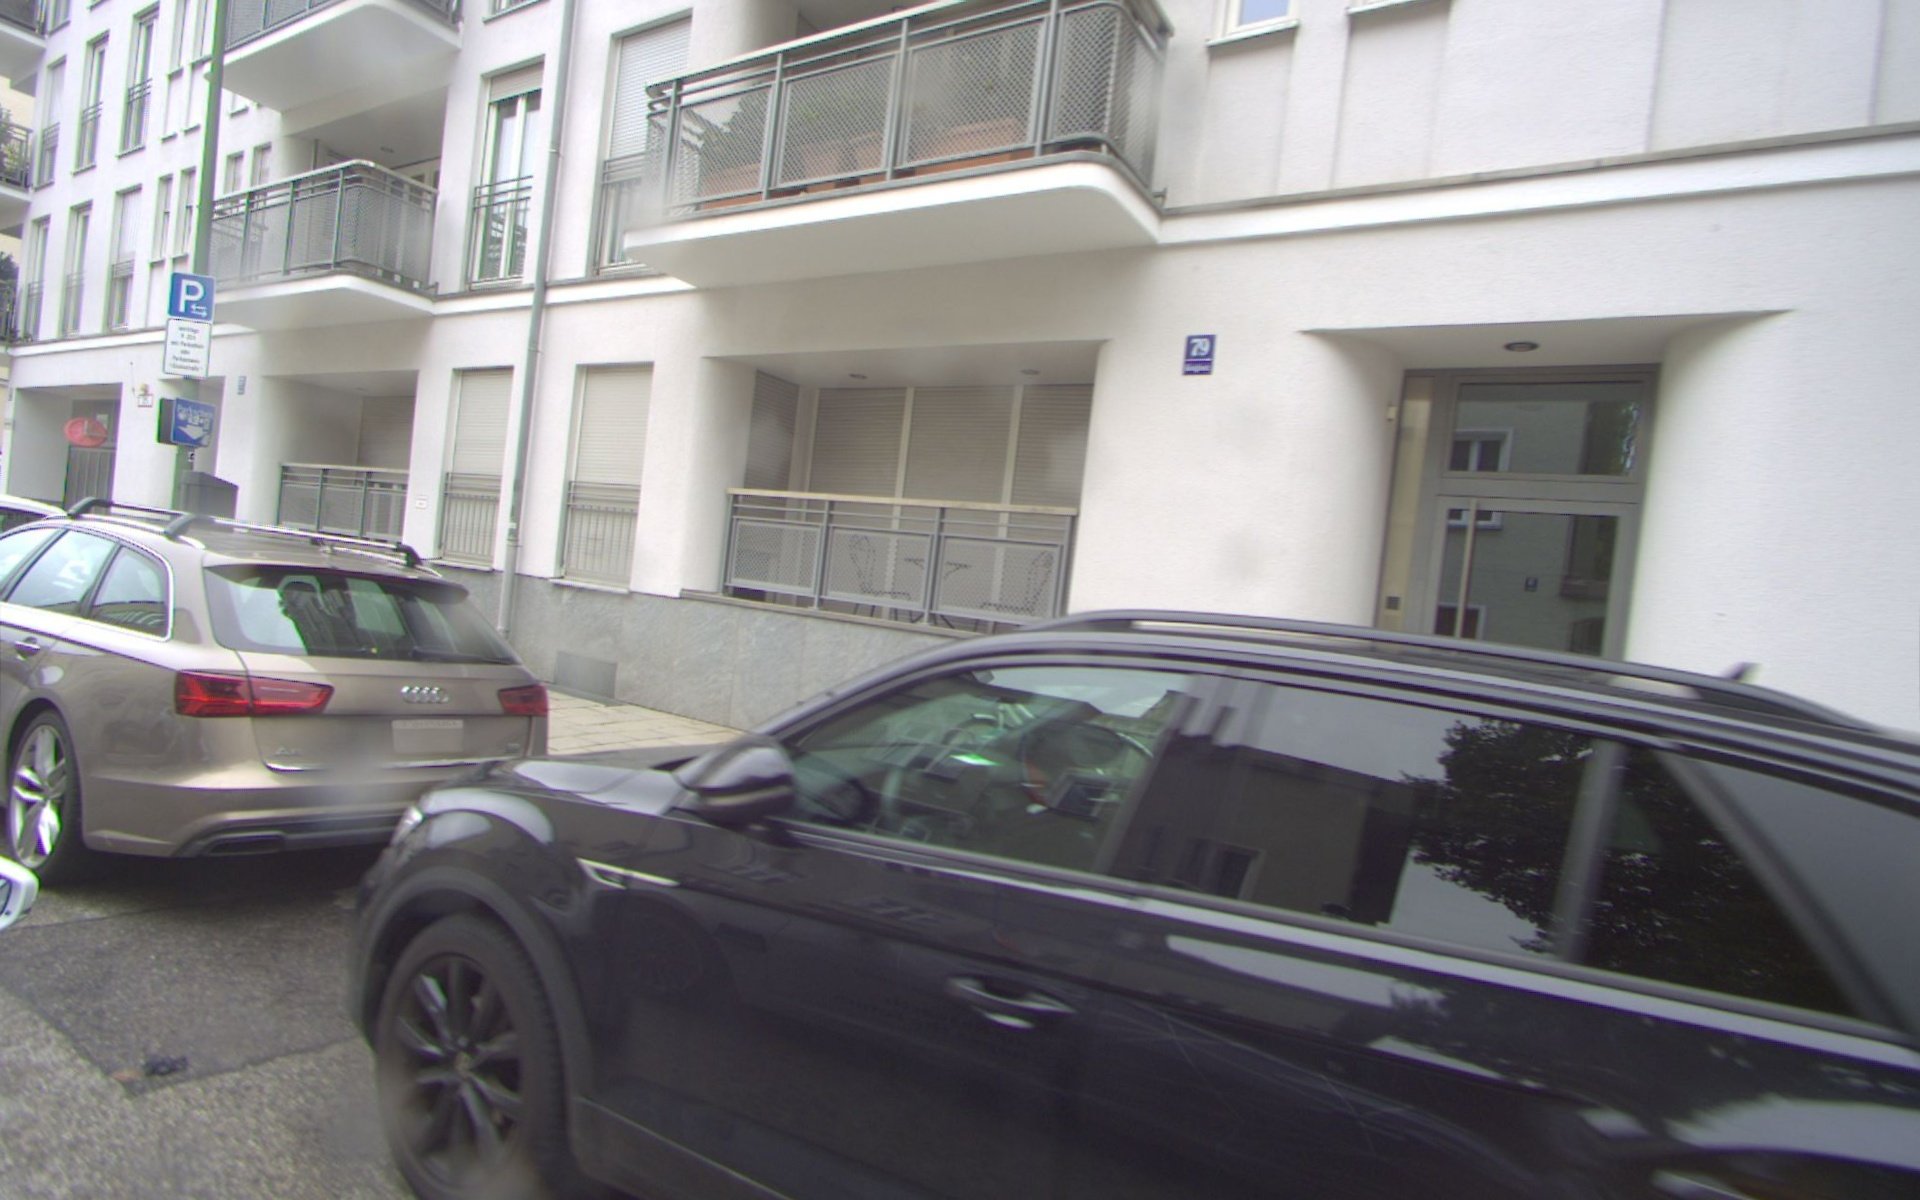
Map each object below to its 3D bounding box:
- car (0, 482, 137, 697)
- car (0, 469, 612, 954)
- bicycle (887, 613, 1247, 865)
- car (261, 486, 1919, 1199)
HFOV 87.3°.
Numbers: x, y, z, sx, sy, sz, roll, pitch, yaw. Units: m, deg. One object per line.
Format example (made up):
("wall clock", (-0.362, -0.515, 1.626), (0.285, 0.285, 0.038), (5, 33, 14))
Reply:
("car", (-8.421, -0.251, 8.174), (3.468, 1.549, 1.522), (7, -1, 32))
("car", (-4.135, 0.251, 5.245), (4.544, 1.548, 1.738), (7, -2, 31))
("bicycle", (0.631, 0.796, 6.386), (2.091, 1.175, 0.628), (7, 2, 30))
("car", (0.372, 0.761, 2.268), (3.917, 1.548, 1.607), (7, -2, 31))
